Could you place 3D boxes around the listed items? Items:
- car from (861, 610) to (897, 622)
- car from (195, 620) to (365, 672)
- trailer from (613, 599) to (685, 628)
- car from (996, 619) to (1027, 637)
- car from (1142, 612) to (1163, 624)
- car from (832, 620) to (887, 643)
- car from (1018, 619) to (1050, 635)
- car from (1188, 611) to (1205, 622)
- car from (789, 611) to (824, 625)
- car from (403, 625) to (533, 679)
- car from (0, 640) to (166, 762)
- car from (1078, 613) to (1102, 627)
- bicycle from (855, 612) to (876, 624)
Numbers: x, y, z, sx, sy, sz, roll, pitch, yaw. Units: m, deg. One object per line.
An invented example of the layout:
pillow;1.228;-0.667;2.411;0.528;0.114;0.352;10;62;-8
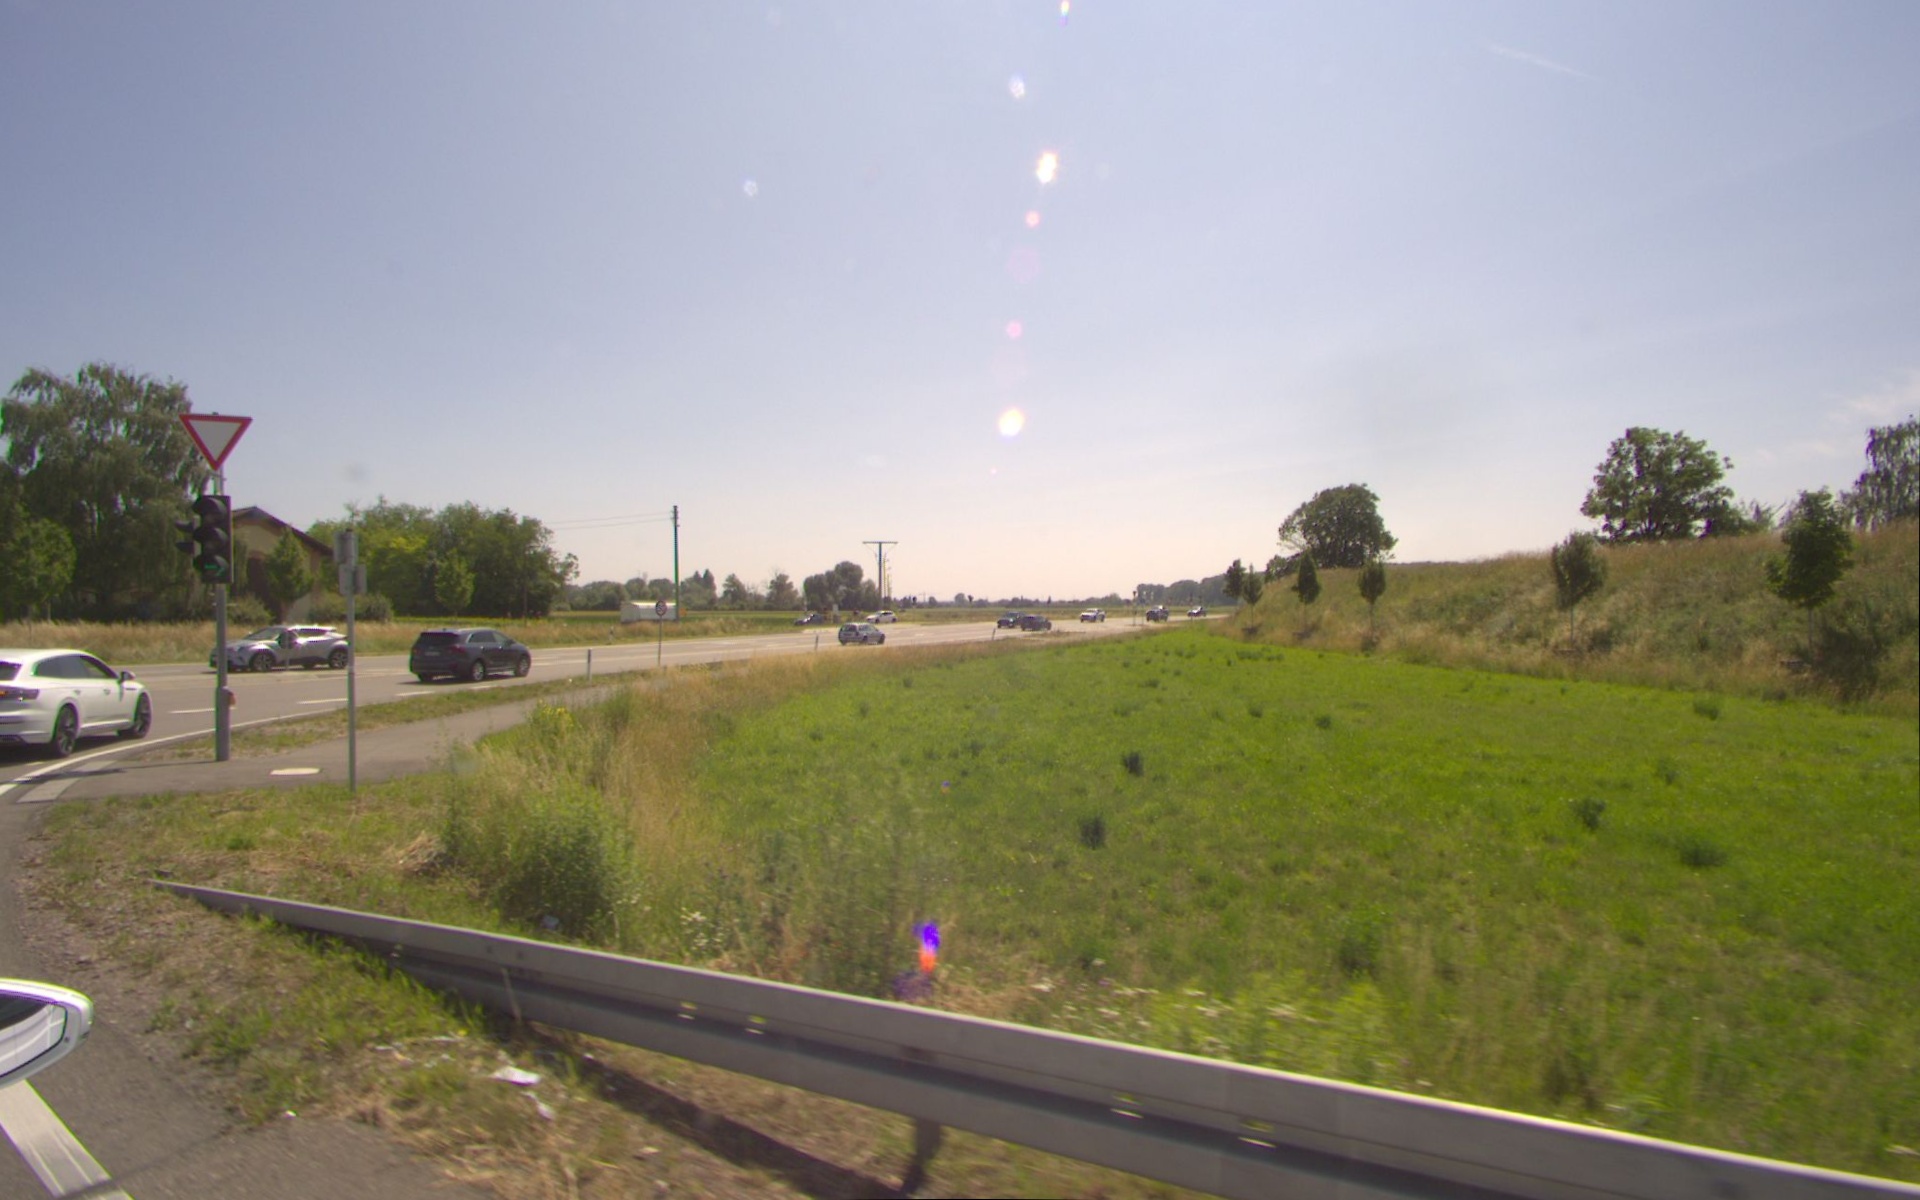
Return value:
car;-9.588;1.941;119.049;3.993;1.350;1.682;2;0;-40
car;-23.116;1.510;34.260;1.841;1.564;4.536;1;0;25
trailer;-28.224;1.176;91.180;2.643;2.488;6.360;1;0;26
car;5.196;2.815;100.917;1.839;1.672;4.316;1;0;22
car;25.073;2.387;130.358;1.776;1.541;3.872;-2;-2;24
car;-6.582;2.064;66.058;1.776;1.447;4.081;-1;-2;25
car;7.146;2.588;96.403;1.775;1.495;4.405;-1;-2;22
car;36.323;2.538;153.618;1.710;1.576;4.401;-1;-2;26
car;-16.502;1.942;107.550;1.653;1.405;3.822;1;0;30
car;-15.890;1.662;32.615;1.903;1.637;4.380;0;-2;3
car;-13.032;1.301;14.039;1.824;1.451;4.594;2;-3;-24
car;16.116;2.502;124.223;1.851;1.672;4.833;2;0;21
bicycle;-12.364;2.369;131.348;2.567;1.389;0.902;-1;-2;11
